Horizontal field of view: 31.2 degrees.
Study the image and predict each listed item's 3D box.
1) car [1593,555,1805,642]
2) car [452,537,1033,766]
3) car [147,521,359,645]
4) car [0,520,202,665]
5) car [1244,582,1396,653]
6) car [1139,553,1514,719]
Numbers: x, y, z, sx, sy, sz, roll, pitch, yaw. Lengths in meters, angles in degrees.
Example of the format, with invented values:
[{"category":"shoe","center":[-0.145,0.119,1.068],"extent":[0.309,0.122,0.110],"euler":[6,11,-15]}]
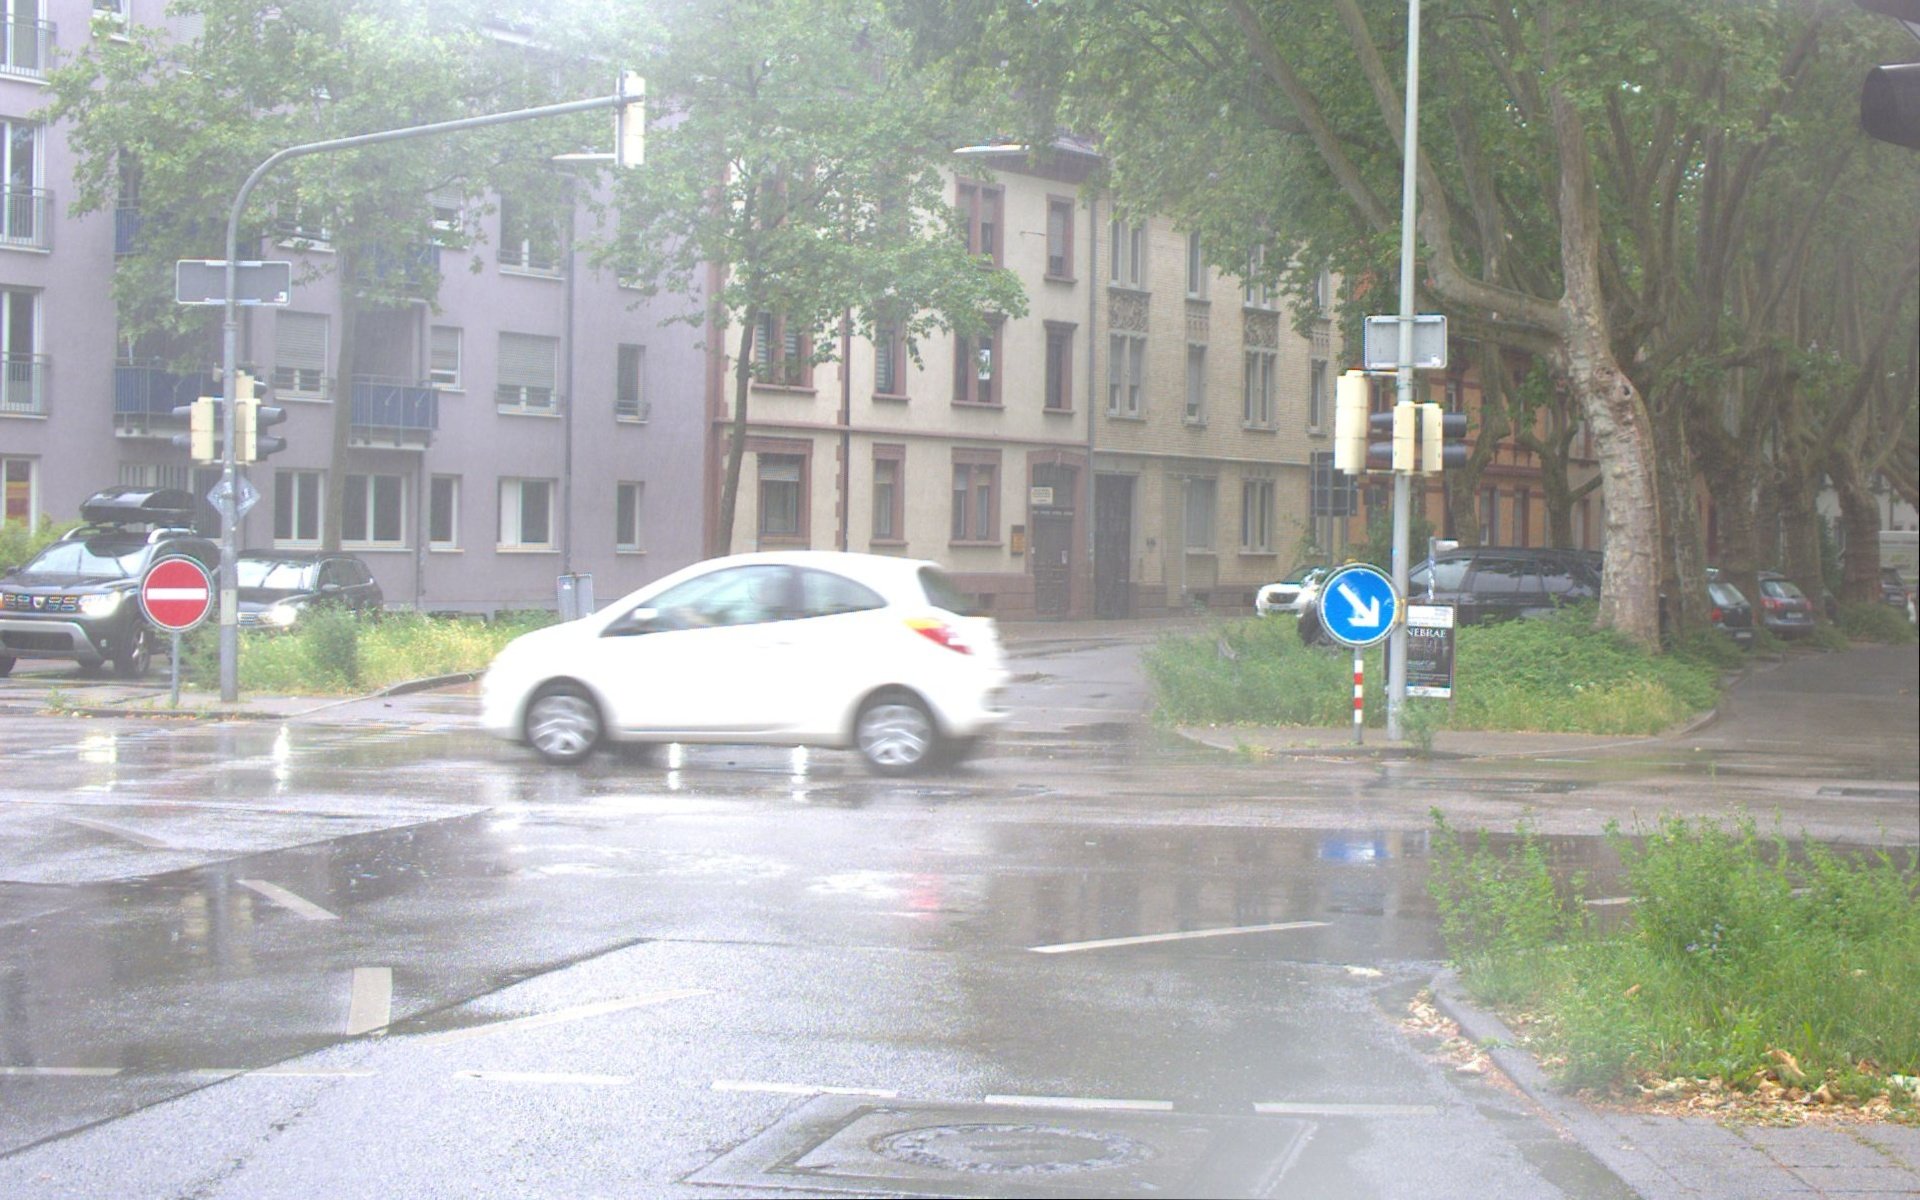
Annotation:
[{"category":"car","center":[14.056,-0.035,65.410],"extent":[3.611,1.612,1.679],"euler":[0,1,28]},{"category":"car","center":[-1.456,0.335,23.620],"extent":[3.643,1.481,1.724],"euler":[0,1,12]},{"category":"car","center":[-9.172,-0.248,44.875],"extent":[1.725,1.547,3.559],"euler":[-1,1,5]},{"category":"car","center":[-9.954,-0.116,38.772],"extent":[1.725,1.547,3.559],"euler":[-1,1,5]},{"category":"car","center":[8.527,0.396,81.179],"extent":[1.680,1.547,4.190],"euler":[0,1,36]},{"category":"car","center":[3.530,0.334,32.970],"extent":[3.480,1.518,1.519],"euler":[-1,1,9]}]
